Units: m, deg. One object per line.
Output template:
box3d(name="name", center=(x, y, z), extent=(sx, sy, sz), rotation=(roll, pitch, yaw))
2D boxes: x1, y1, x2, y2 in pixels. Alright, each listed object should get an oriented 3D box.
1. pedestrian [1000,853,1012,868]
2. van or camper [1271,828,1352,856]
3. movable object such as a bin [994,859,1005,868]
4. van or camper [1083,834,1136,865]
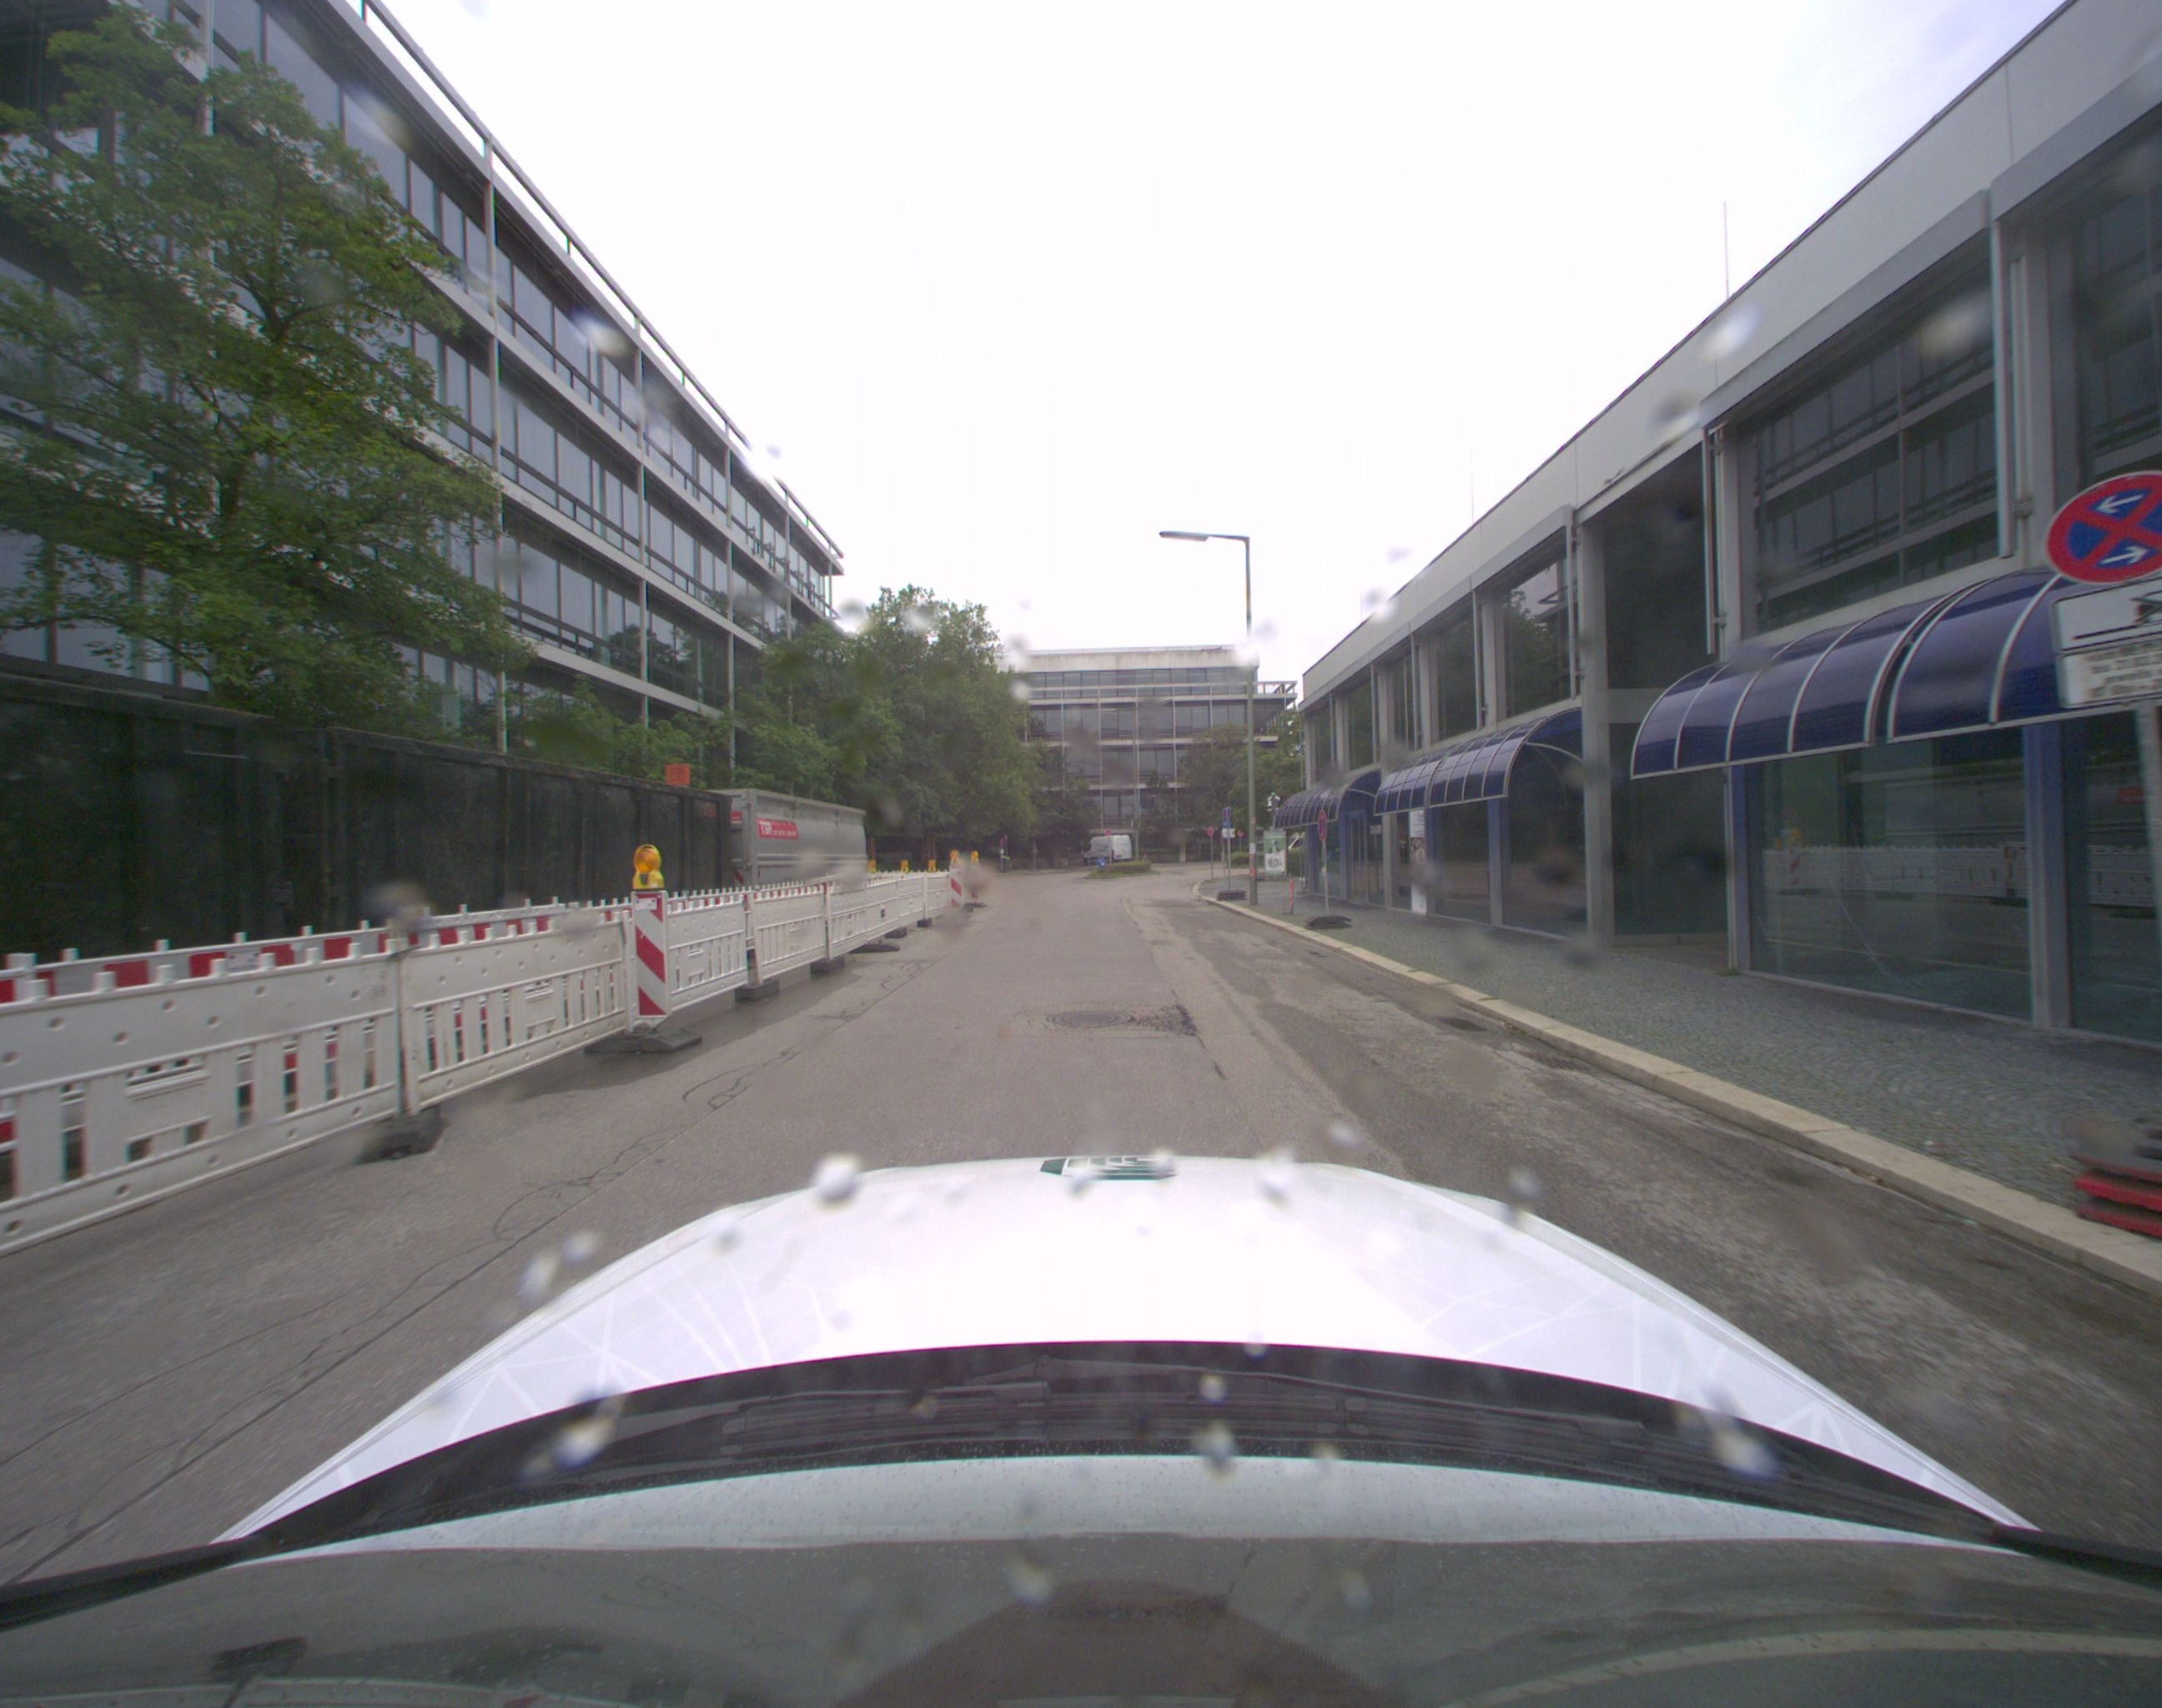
box3d(name="pedestrian", center=(-6.605, 0.596, 71.792), extent=(0.922, 1.278, 0.542), rotation=(-1, 0, 3))
box3d(name="van or camper", center=(19.984, -1.056, 70.647), extent=(6.404, 2.281, 2.245), rotation=(-2, 0, -13))
box3d(name="movable object such as a bin", center=(-7.166, 0.857, 71.763), extent=(0.831, 0.753, 0.573), rotation=(-1, 0, 3))
box3d(name="van or camper", center=(2.488, -0.382, 73.833), extent=(2.166, 2.580, 6.485), rotation=(-1, -1, -24))
